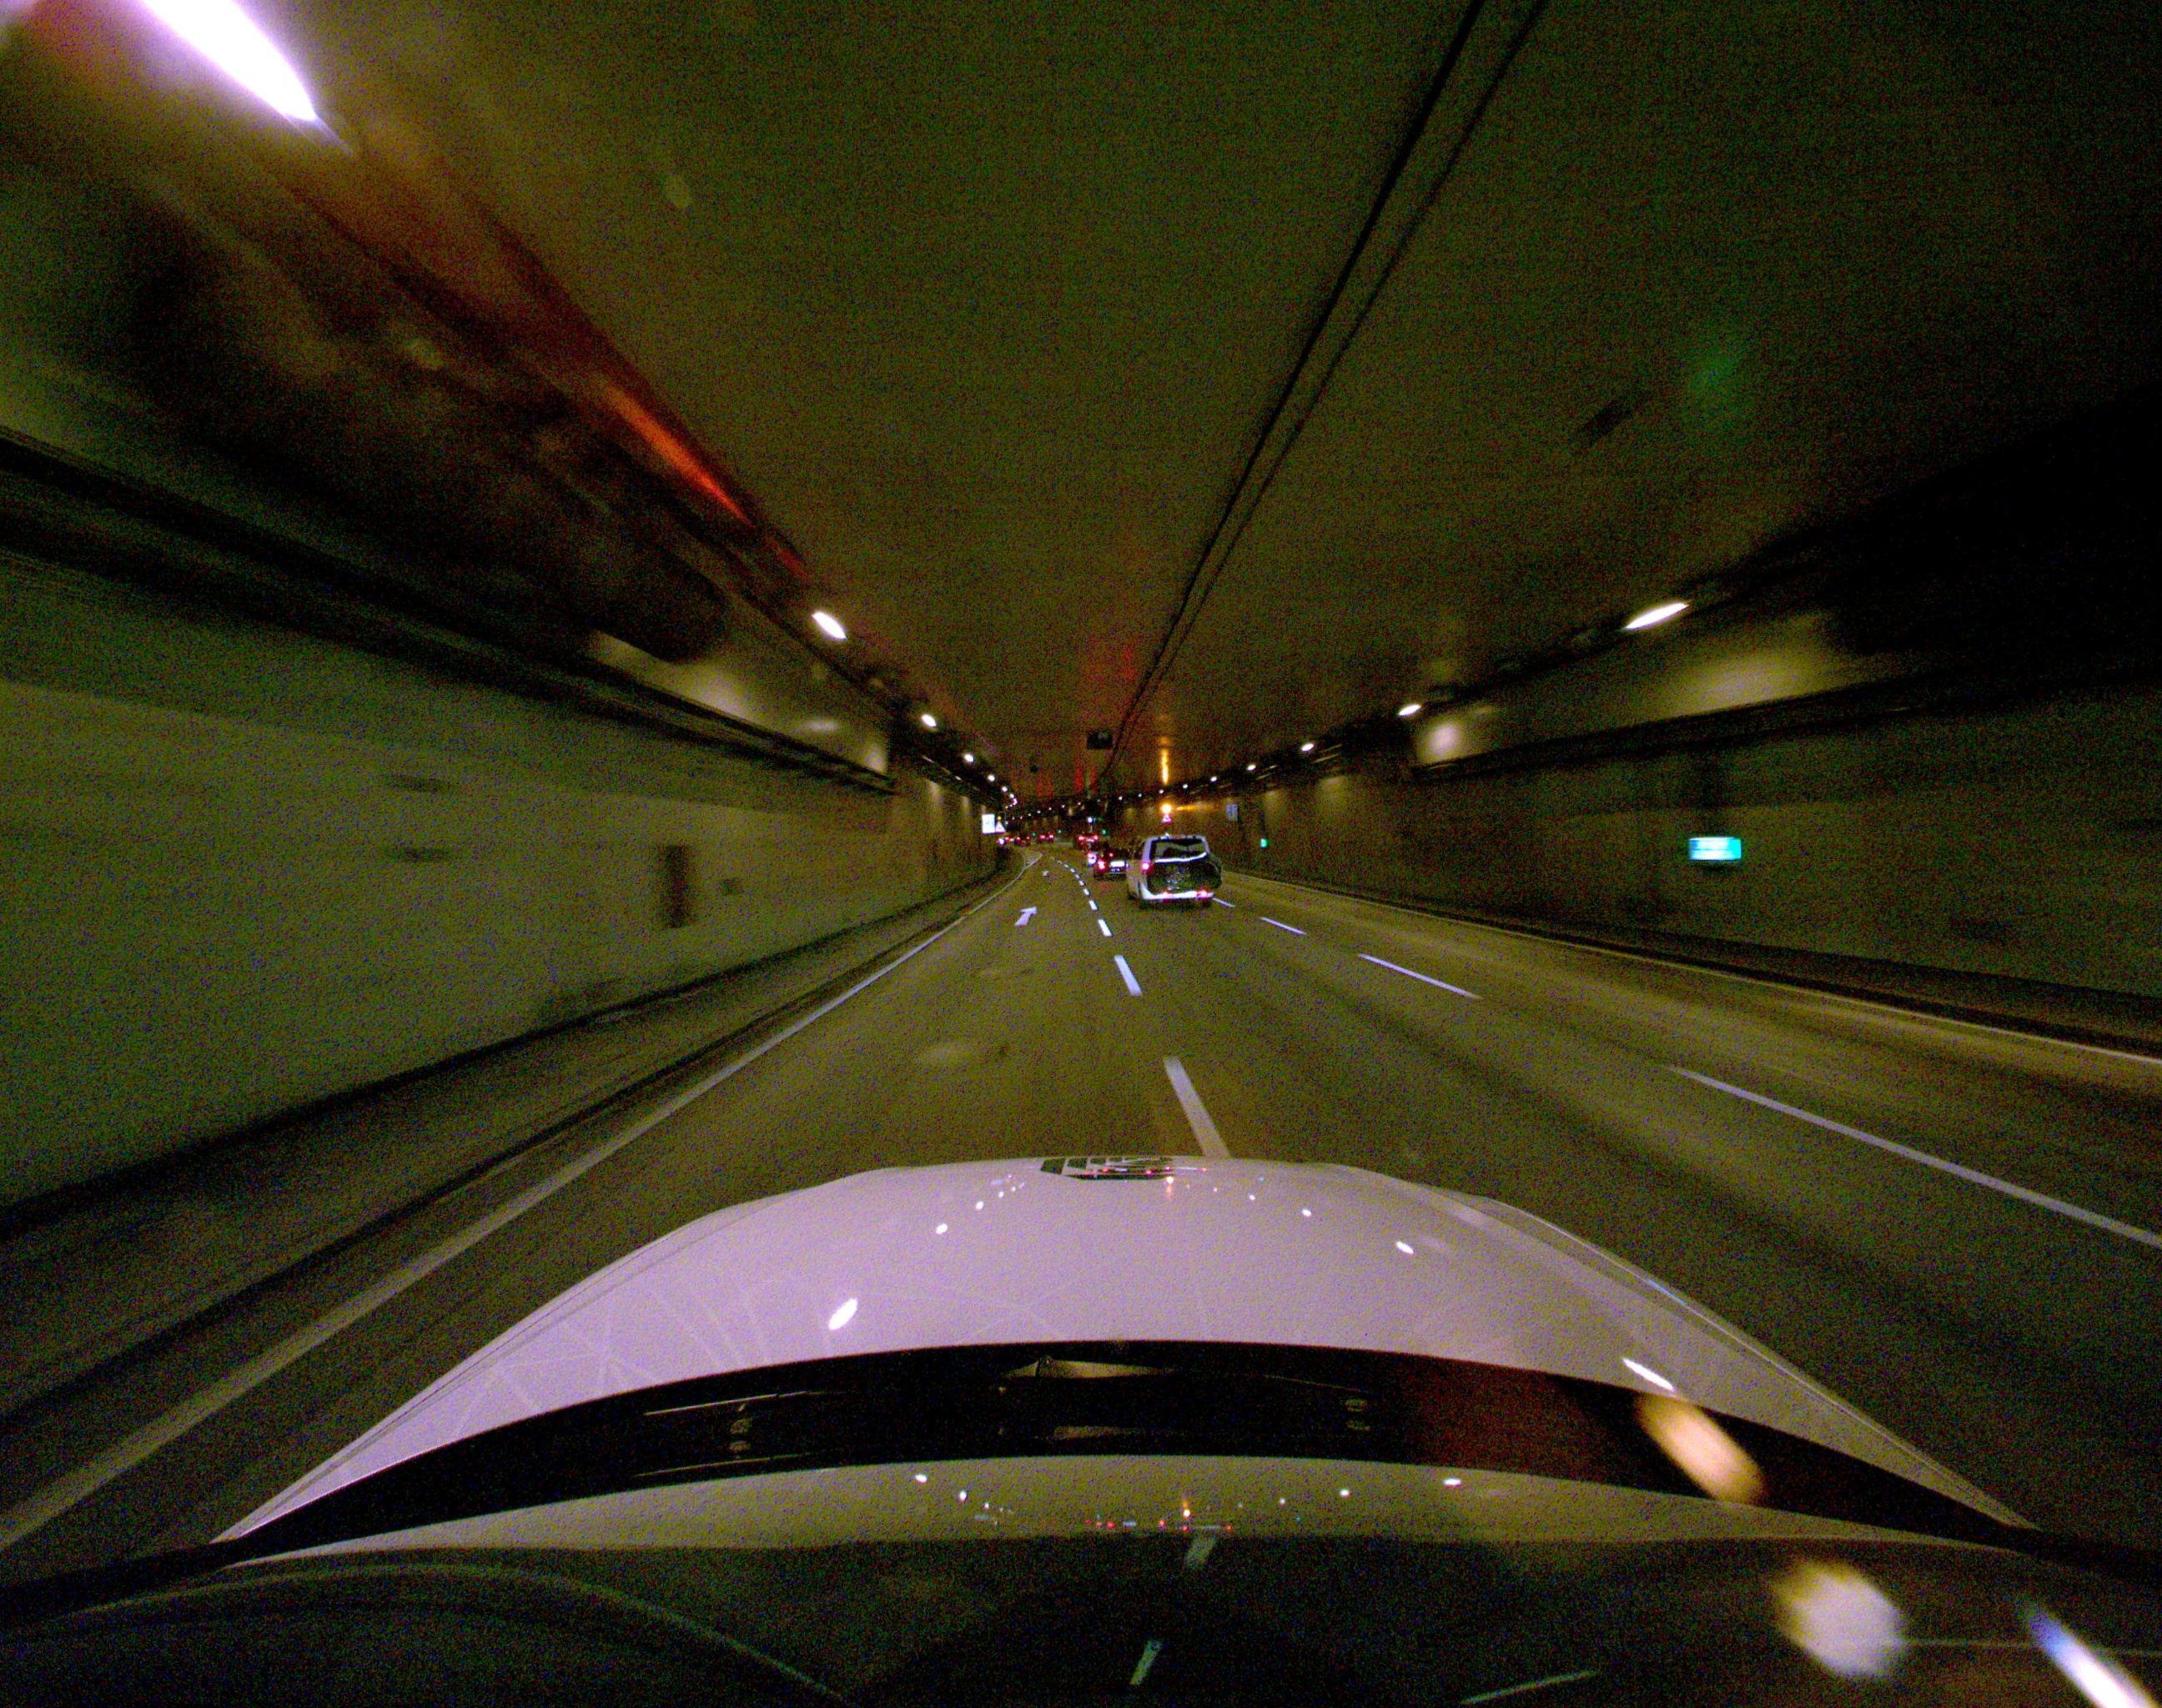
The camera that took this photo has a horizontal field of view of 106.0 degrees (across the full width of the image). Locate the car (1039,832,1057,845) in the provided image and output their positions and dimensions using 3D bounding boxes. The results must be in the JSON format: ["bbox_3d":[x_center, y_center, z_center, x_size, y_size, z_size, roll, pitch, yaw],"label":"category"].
[{"bbox_3d":[-4.277,-2.010,104.953,1.823,1.630,3.829,-1,0,-11],"label":"car"}]

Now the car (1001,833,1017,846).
[{"bbox_3d":[-10.324,-2.064,116.269,1.824,1.630,3.827,-1,0,-12],"label":"car"}]

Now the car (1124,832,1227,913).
[{"bbox_3d":[2.350,0.379,21.714,1.988,1.847,5.298,-1,1,-1],"label":"car"}]

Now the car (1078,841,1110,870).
[{"bbox_3d":[0.769,0.056,49.789,1.600,1.593,3.350,-2,1,-5],"label":"car"}]

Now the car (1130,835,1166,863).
[{"bbox_3d":[4.279,-0.300,52.716,1.867,1.761,3.997,-1,-1,-2],"label":"car"}]

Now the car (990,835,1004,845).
[{"bbox_3d":[-14.184,-2.308,137.090,1.824,1.630,3.827,-1,0,-13],"label":"car"}]

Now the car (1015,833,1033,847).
[{"bbox_3d":[-6.982,-1.697,99.219,1.822,1.630,3.831,-1,0,-9],"label":"car"}]

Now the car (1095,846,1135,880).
[{"bbox_3d":[1.489,0.386,36.710,1.598,1.395,3.276,-1,1,0],"label":"car"}]

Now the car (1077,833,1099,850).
[{"bbox_3d":[0.643,-1.205,79.082,1.602,1.630,3.345,-1,0,-9],"label":"car"}]
